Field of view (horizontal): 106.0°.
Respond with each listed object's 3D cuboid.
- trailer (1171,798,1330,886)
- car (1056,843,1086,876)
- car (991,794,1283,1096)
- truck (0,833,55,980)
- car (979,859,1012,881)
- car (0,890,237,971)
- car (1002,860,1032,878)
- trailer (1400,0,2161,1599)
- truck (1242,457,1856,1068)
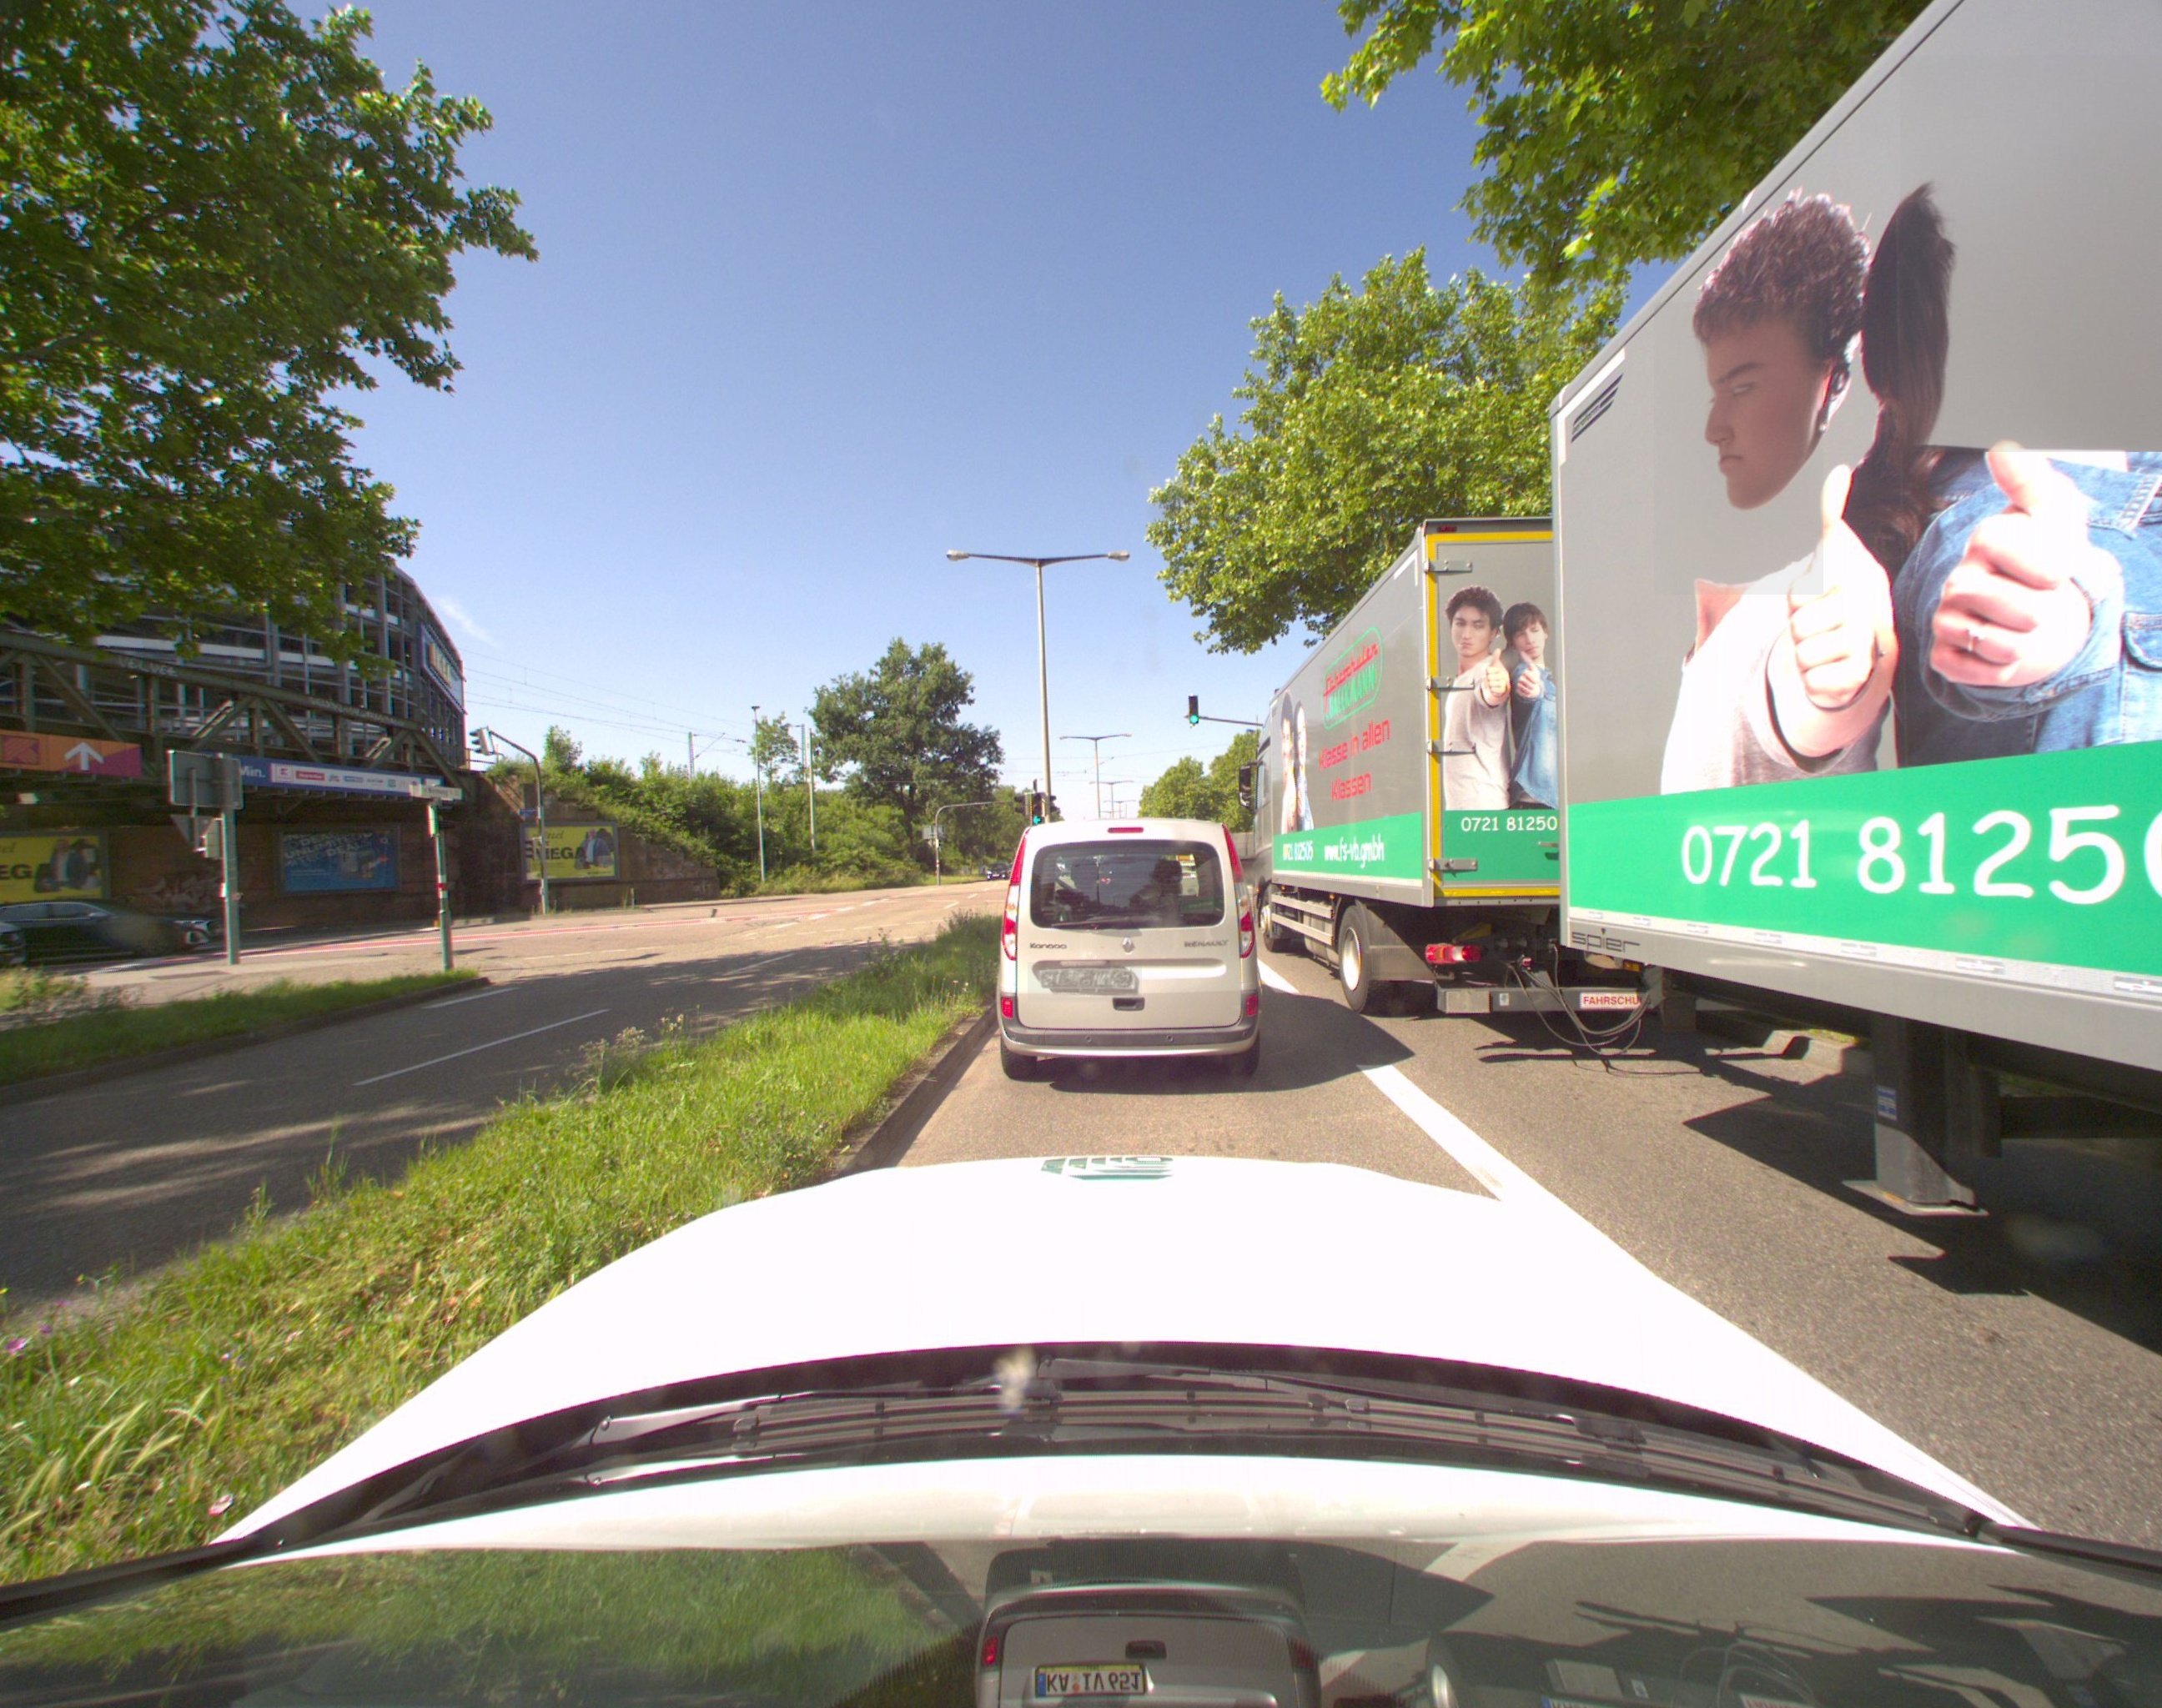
[{"bbox_3d":[8.672,-0.453,39.545,2.872,3.622,12.766,-1,-1,34],"label":"trailer"},{"bbox_3d":[-0.800,0.479,69.510,1.984,2.607,5.140,-3,-1,5],"label":"car"},{"bbox_3d":[0.404,0.575,6.992,1.779,1.838,4.001,0,-1,2],"label":"car"},{"bbox_3d":[-26.328,1.317,16.187,6.890,3.105,2.196,-4,1,-32],"label":"truck"},{"bbox_3d":[-6.825,1.286,65.394,1.902,1.641,3.742,-3,-1,5],"label":"car"},{"bbox_3d":[-25.769,1.968,21.774,4.015,1.646,1.885,-4,1,-32],"label":"car"},{"bbox_3d":[-5.820,1.337,74.130,1.984,1.540,4.241,-3,-1,5],"label":"car"},{"bbox_3d":[3.282,-0.615,1.445,2.724,3.877,7.743,-2,-1,4],"label":"trailer"},{"bbox_3d":[3.867,-0.544,9.665,2.717,3.889,8.732,-2,-1,4],"label":"truck"}]
